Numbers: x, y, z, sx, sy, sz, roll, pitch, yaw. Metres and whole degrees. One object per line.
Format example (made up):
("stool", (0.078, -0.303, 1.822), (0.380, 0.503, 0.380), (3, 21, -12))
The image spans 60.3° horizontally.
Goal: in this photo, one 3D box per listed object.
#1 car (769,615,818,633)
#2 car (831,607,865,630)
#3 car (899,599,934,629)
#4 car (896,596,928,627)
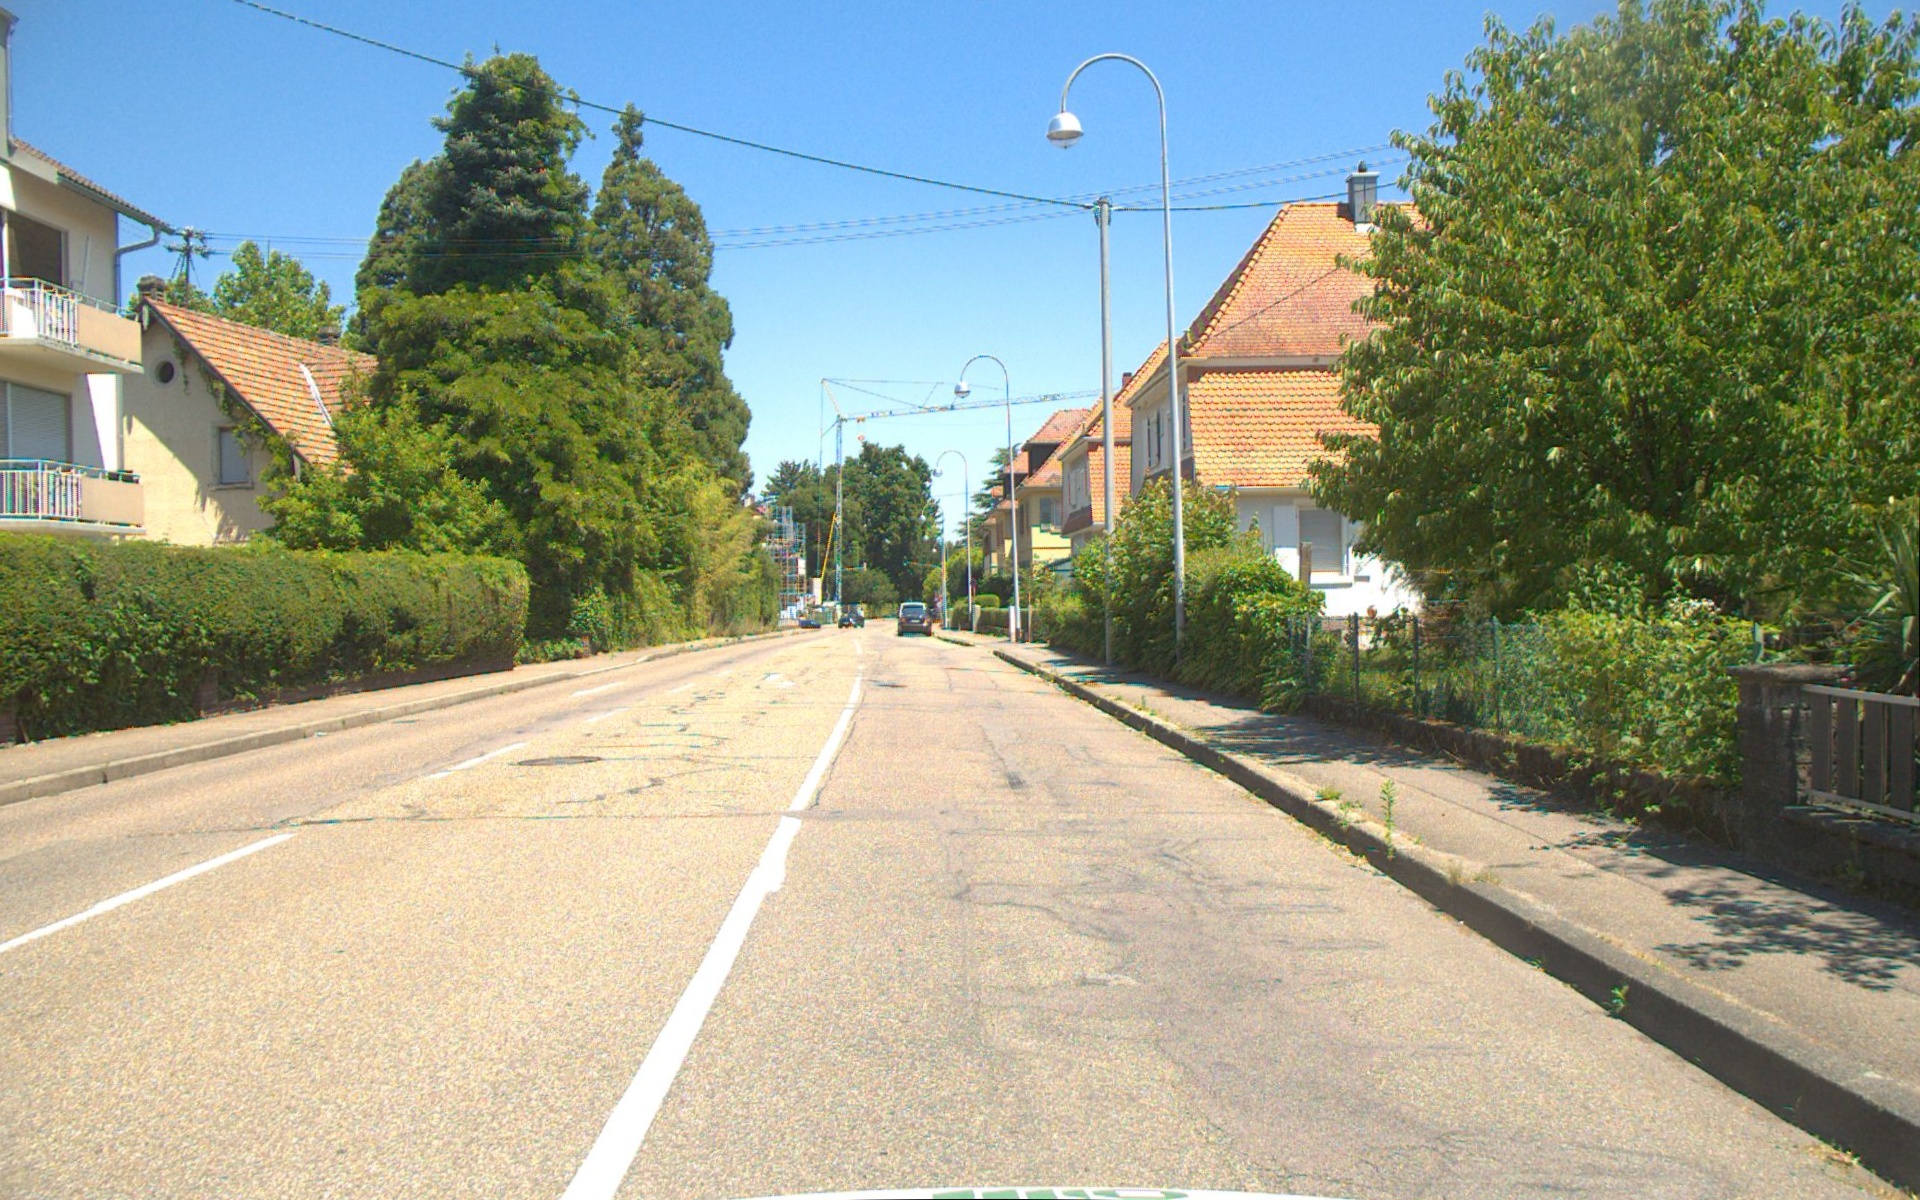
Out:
("car", (-15.083, 2.142, 149.810), (3.902, 1.494, 1.967), (-2, 0, 12))
("car", (-10.676, 1.781, 157.836), (1.951, 1.882, 4.716), (-1, 2, 12))
("car", (-2.261, 0.732, 85.035), (1.659, 1.444, 4.547), (-1, -1, -3))
("car", (-3.065, 0.749, 104.743), (1.954, 1.934, 4.819), (1, -1, -3))
